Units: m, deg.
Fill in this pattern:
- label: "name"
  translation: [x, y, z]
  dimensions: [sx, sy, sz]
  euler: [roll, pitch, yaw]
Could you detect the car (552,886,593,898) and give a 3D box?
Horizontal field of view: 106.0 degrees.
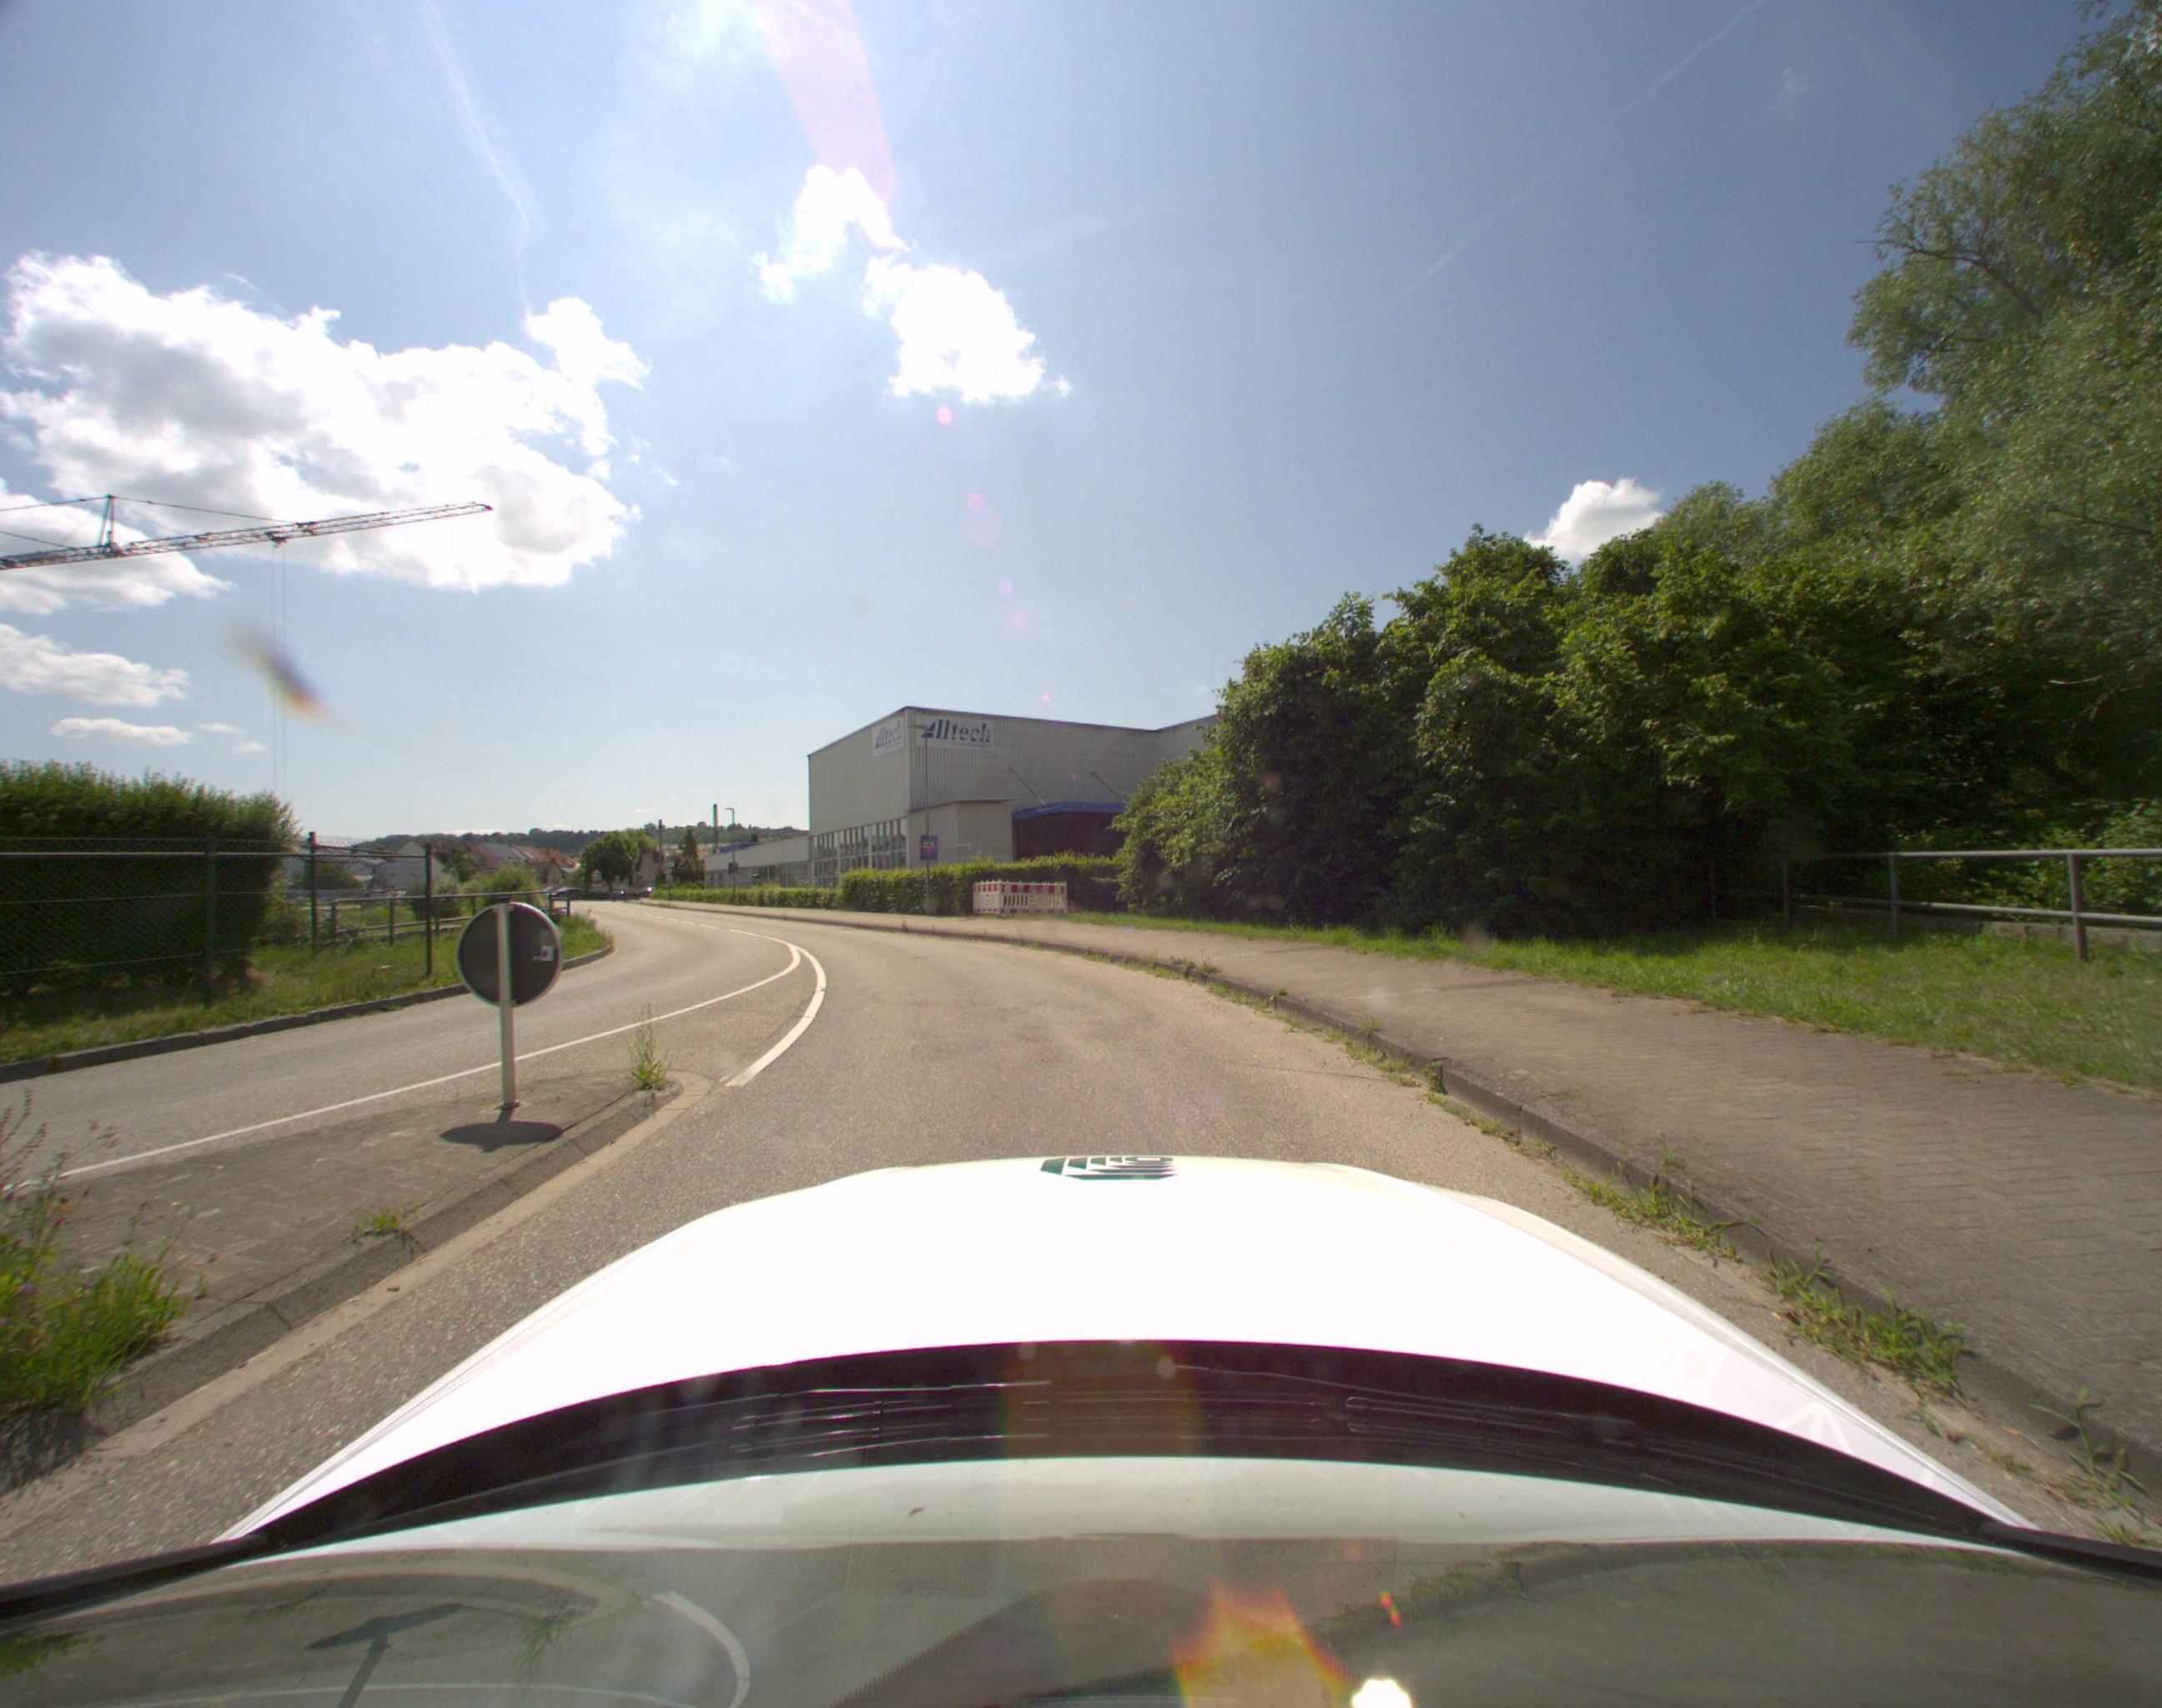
- label: "car"
  translation: [-65.293, 4.819, 104.528]
  dimensions: [4.224, 1.463, 1.644]
  euler: [2, -4, -43]
